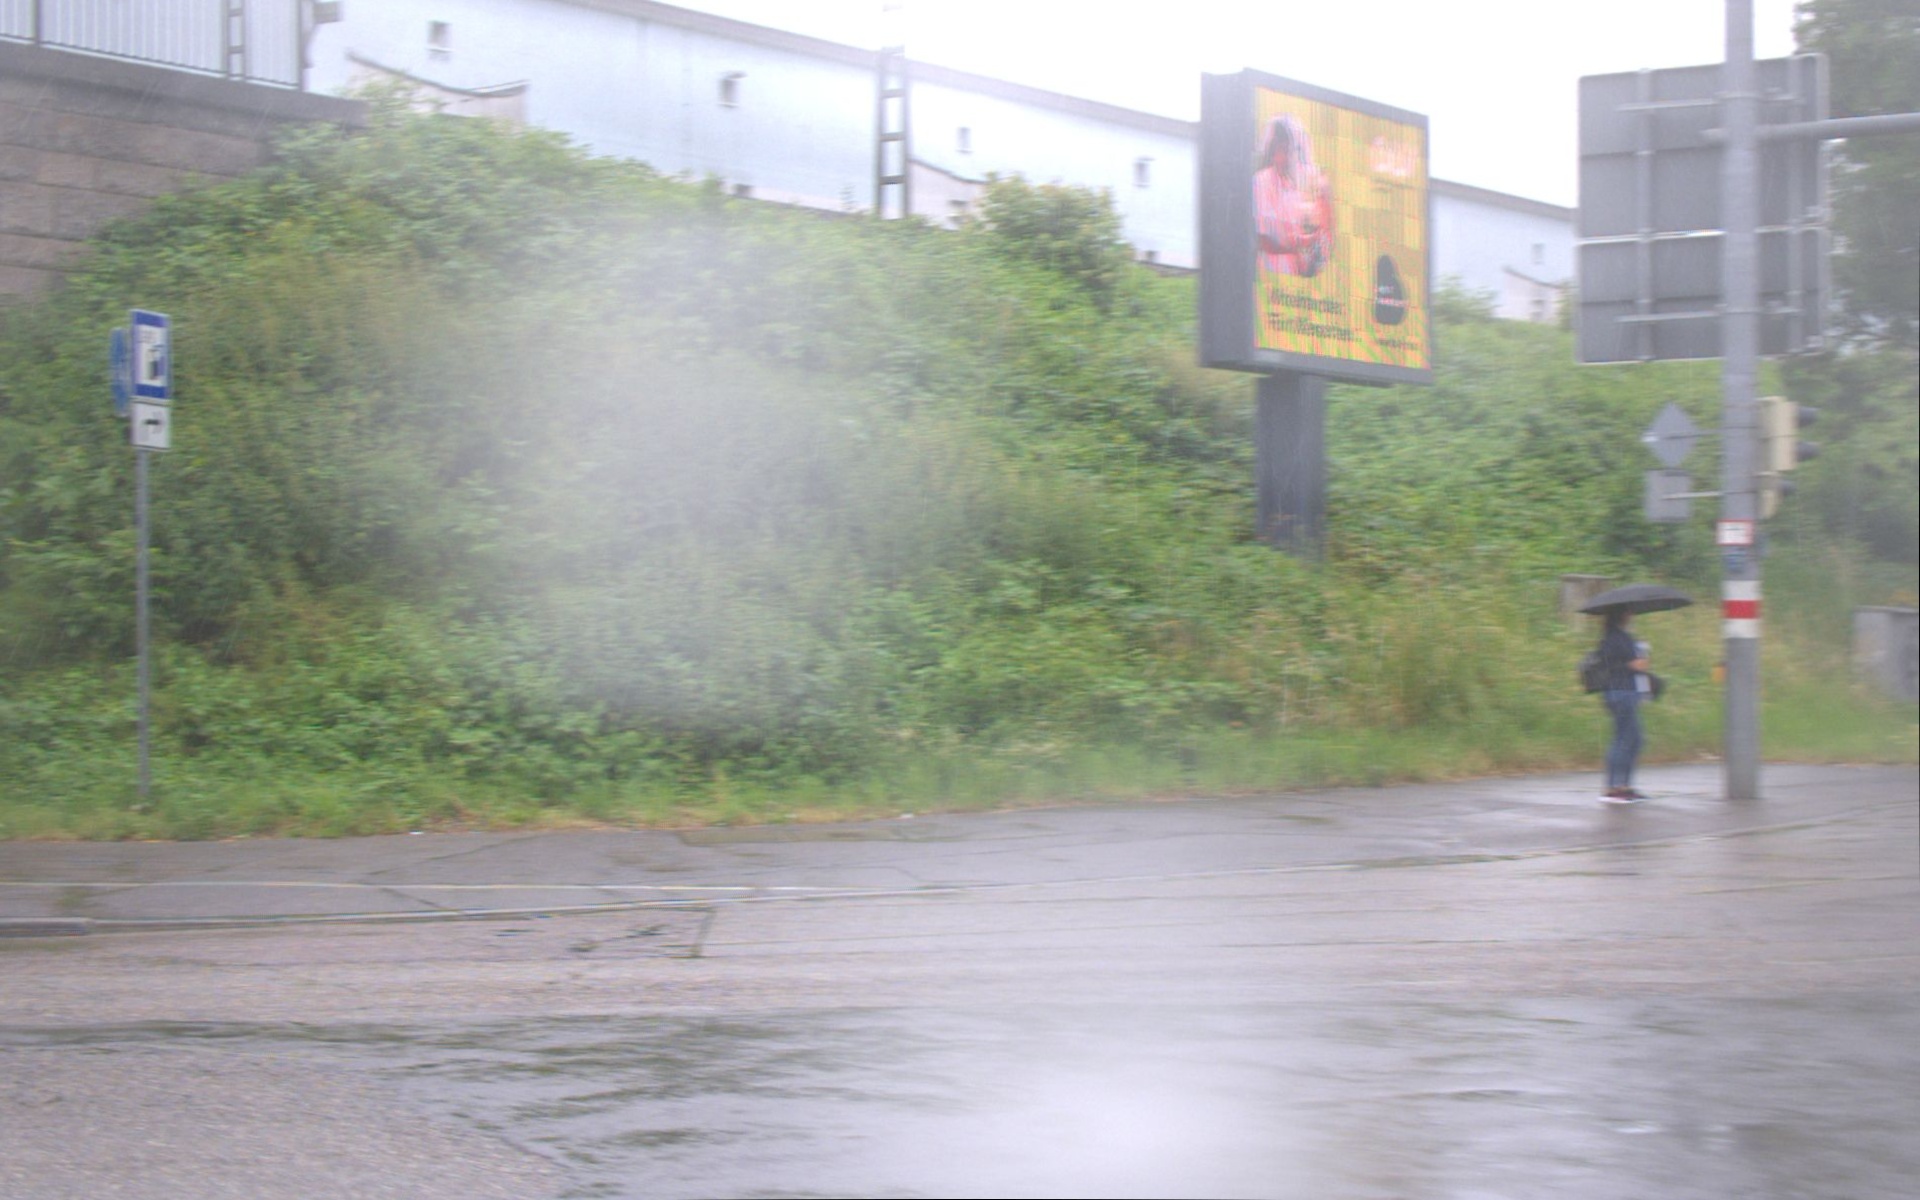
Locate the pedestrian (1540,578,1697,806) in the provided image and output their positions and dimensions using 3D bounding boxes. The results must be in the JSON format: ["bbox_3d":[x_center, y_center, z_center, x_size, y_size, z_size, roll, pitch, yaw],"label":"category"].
[{"bbox_3d":[5.073,0.688,26.472,1.003,1.713,0.819,0,0,26],"label":"pedestrian"}]
